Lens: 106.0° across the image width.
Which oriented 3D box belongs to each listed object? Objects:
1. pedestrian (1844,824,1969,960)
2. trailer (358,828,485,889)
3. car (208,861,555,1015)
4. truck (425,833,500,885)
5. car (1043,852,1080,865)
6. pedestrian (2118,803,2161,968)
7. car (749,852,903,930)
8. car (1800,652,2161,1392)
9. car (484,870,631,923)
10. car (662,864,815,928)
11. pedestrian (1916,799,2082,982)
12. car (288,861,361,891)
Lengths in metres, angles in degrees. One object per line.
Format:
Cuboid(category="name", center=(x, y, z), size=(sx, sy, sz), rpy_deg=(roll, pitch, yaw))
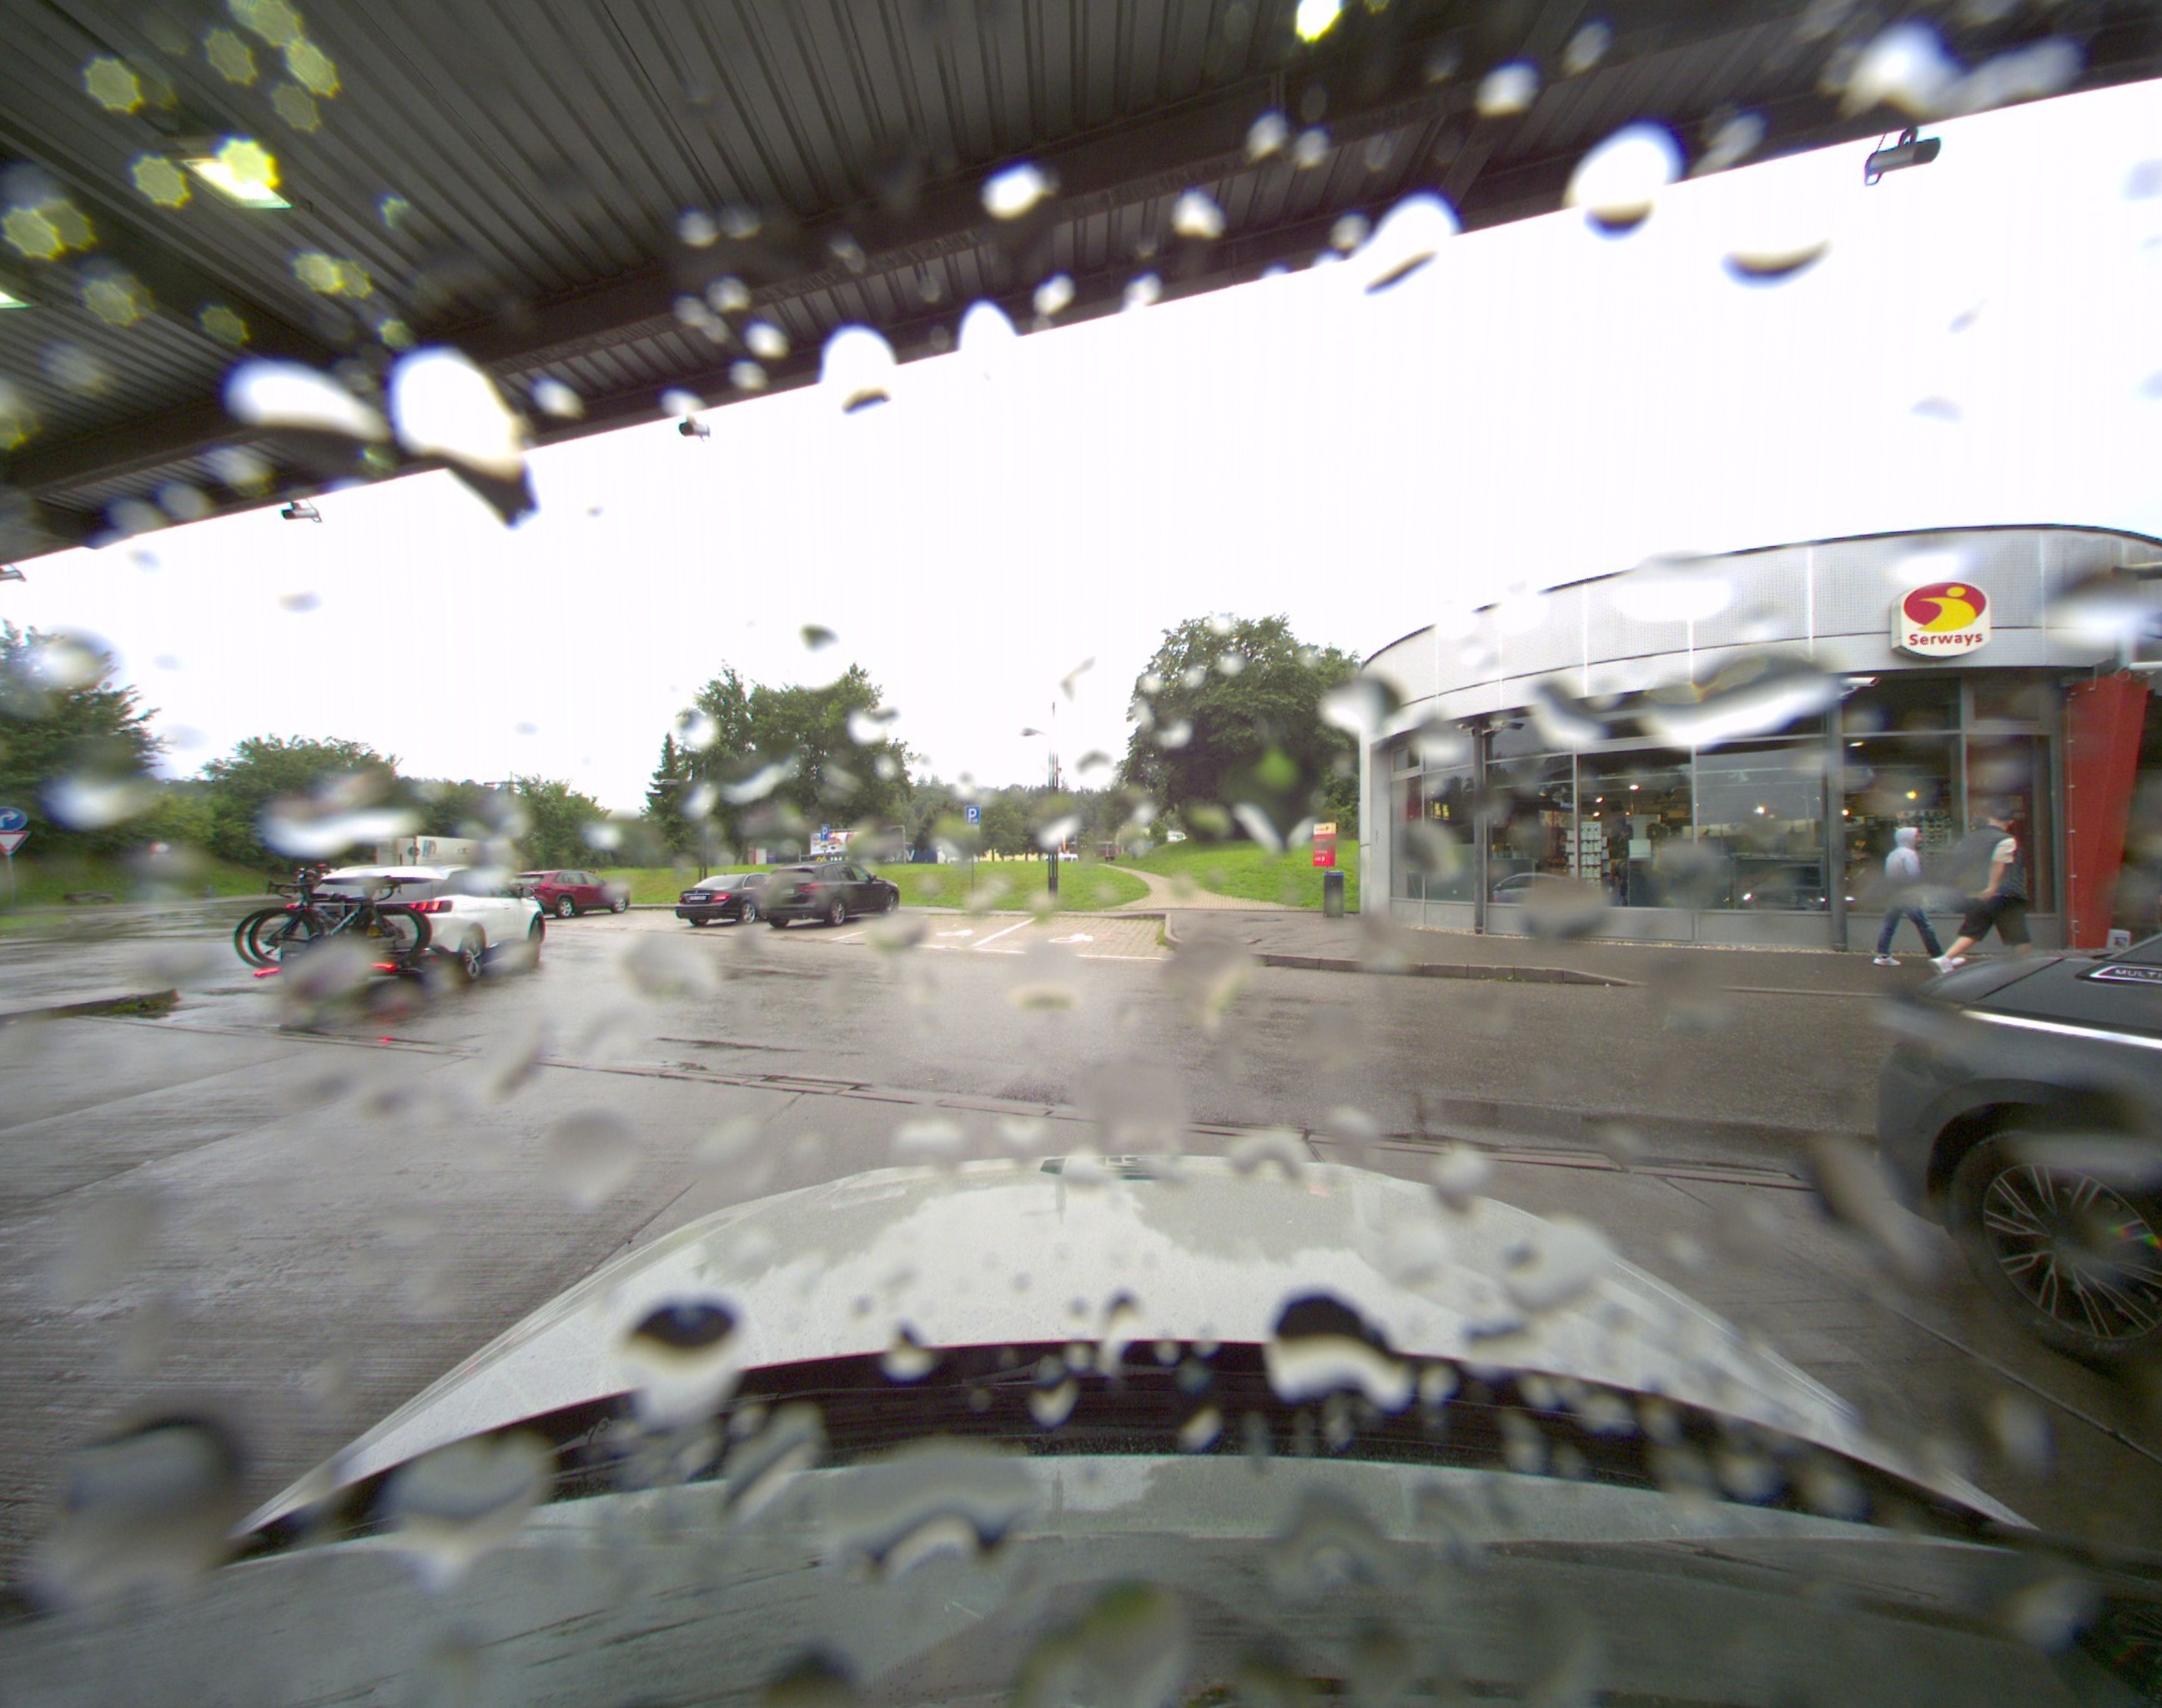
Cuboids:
Cuboid(category="pedestrian", center=(9.871, 0.440, 9.774), size=(0.880, 1.550, 0.665), rpy_deg=(-2, 0, 31))
Cuboid(category="trailer", center=(-54.884, 0.418, 68.479), size=(3.466, 4.557, 13.827), rpy_deg=(0, -1, -18))
Cuboid(category="car", center=(-9.007, 0.902, 11.144), size=(1.819, 1.565, 4.973), rpy_deg=(0, 0, -18))
Cuboid(category="truck", center=(-57.106, 0.491, 75.420), size=(3.467, 4.557, 6.694), rpy_deg=(0, -1, -18))
Cuboid(category="car", center=(-3.208, 0.794, 133.989), size=(5.376, 2.013, 2.468), rpy_deg=(-1, 0, 21))
Cuboid(category="pedestrian", center=(12.740, 0.340, 9.206), size=(0.989, 1.864, 0.804), rpy_deg=(-2, 0, 30))
Cuboid(category="car", center=(-6.616, 0.887, 21.737), size=(1.871, 1.828, 4.429), rpy_deg=(-2, 0, 13))
Cuboid(category="car", center=(3.715, 0.437, 1.226), size=(1.809, 1.948, 4.002), rpy_deg=(-1, 0, 2))
Cuboid(category="car", center=(-18.158, 1.414, 28.519), size=(1.873, 1.596, 4.364), rpy_deg=(-2, 0, 8))
Cuboid(category="car", center=(-9.617, 1.136, 23.294), size=(1.871, 1.565, 4.200), rpy_deg=(-2, 0, 13))
Cuboid(category="pedestrian", center=(9.871, 0.372, 8.808), size=(0.963, 1.848, 0.778), rpy_deg=(-2, 0, 30))
Cuboid(category="car", center=(-49.237, 1.401, 53.126), size=(1.934, 1.838, 4.361), rpy_deg=(-1, 0, -20))
